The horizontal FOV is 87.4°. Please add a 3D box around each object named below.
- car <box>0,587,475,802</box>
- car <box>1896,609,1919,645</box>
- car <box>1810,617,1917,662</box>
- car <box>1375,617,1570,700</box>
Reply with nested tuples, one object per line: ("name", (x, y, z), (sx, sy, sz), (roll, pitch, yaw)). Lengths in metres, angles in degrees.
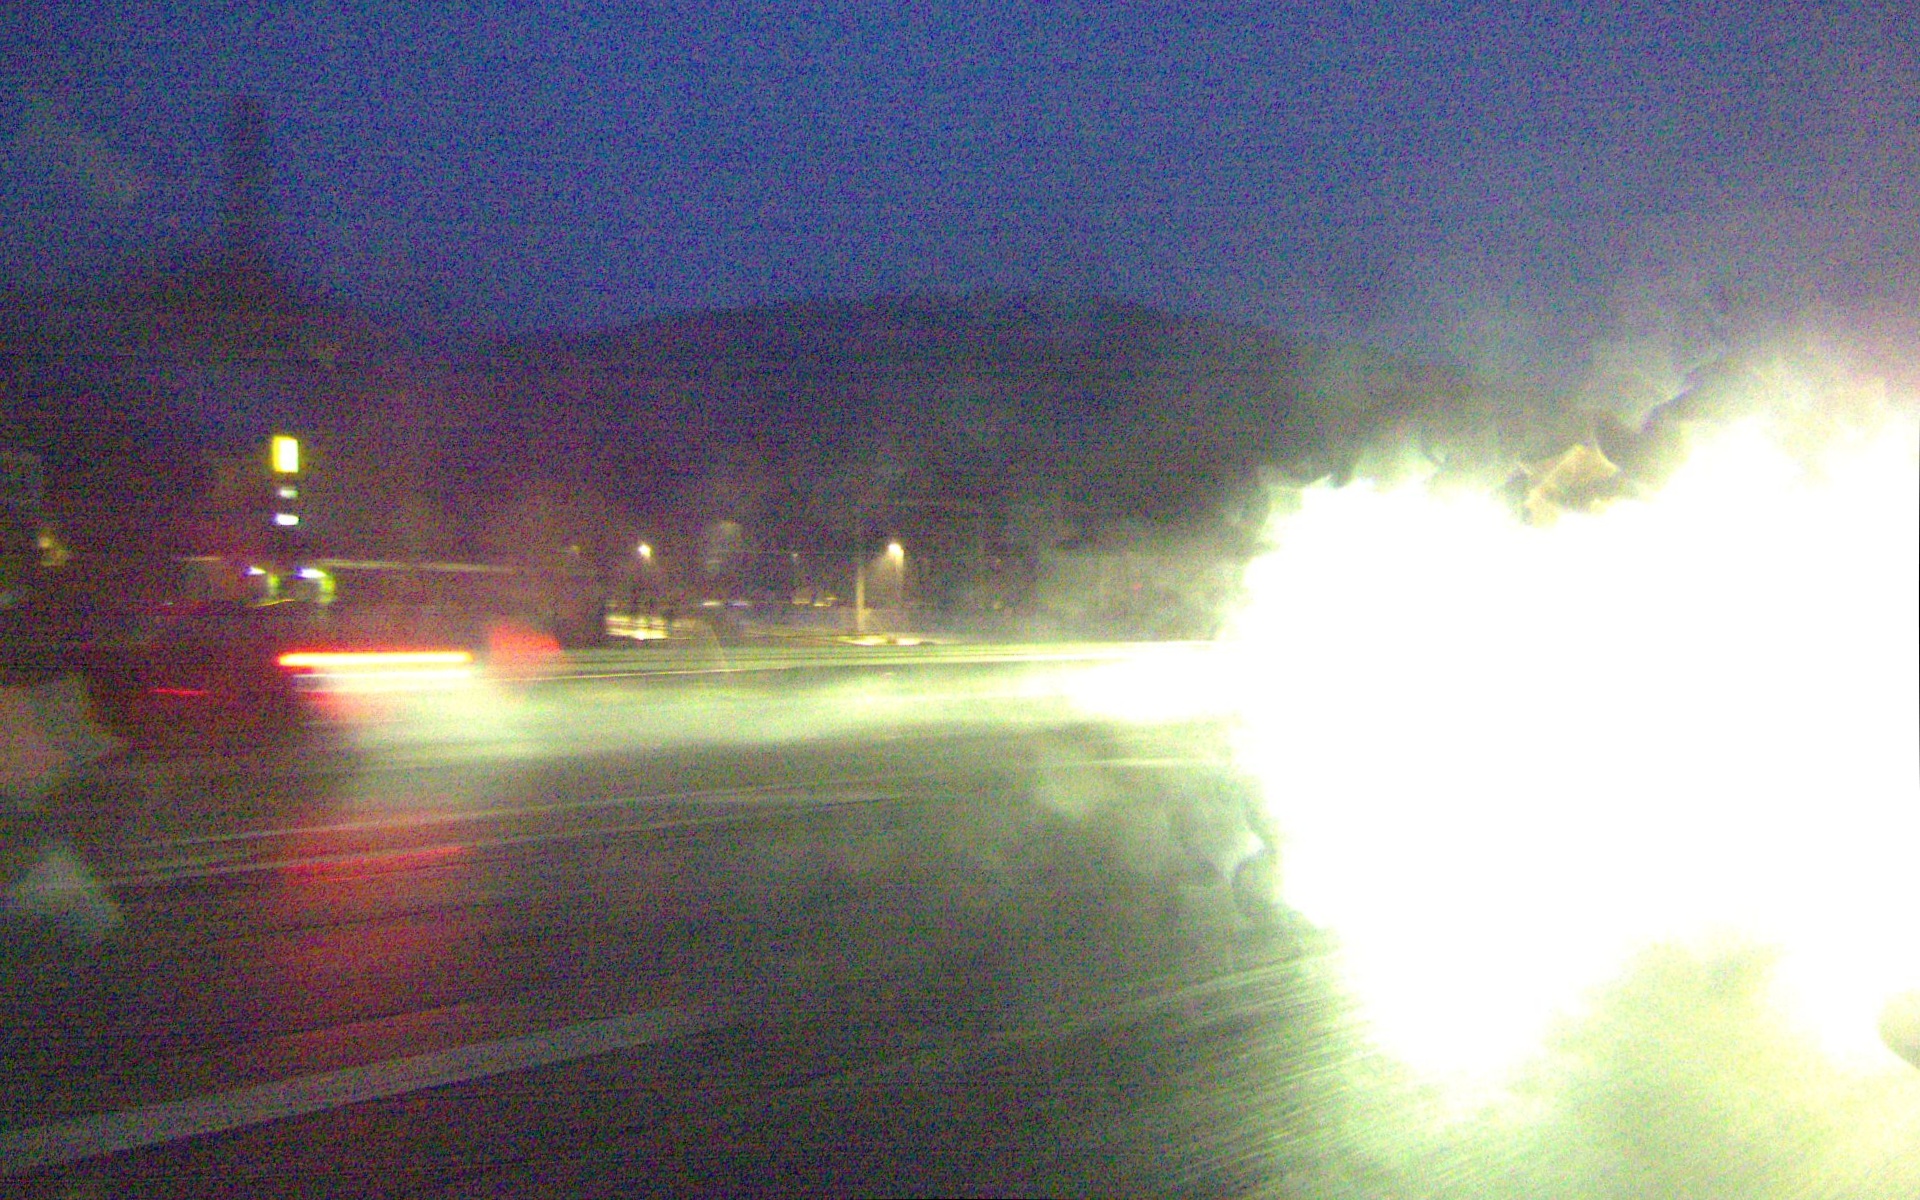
("car", (-6.547, 0.672, 8.183), (4.446, 1.461, 1.820), (2, 0, -35))
("car", (43.458, 1.255, 44.499), (4.509, 1.528, 1.981), (2, 0, -34))
("car", (31.002, 1.344, 34.428), (4.208, 1.416, 1.863), (2, -1, -35))
("car", (10.061, 1.092, 19.650), (3.816, 1.460, 1.779), (1, -2, -34))
